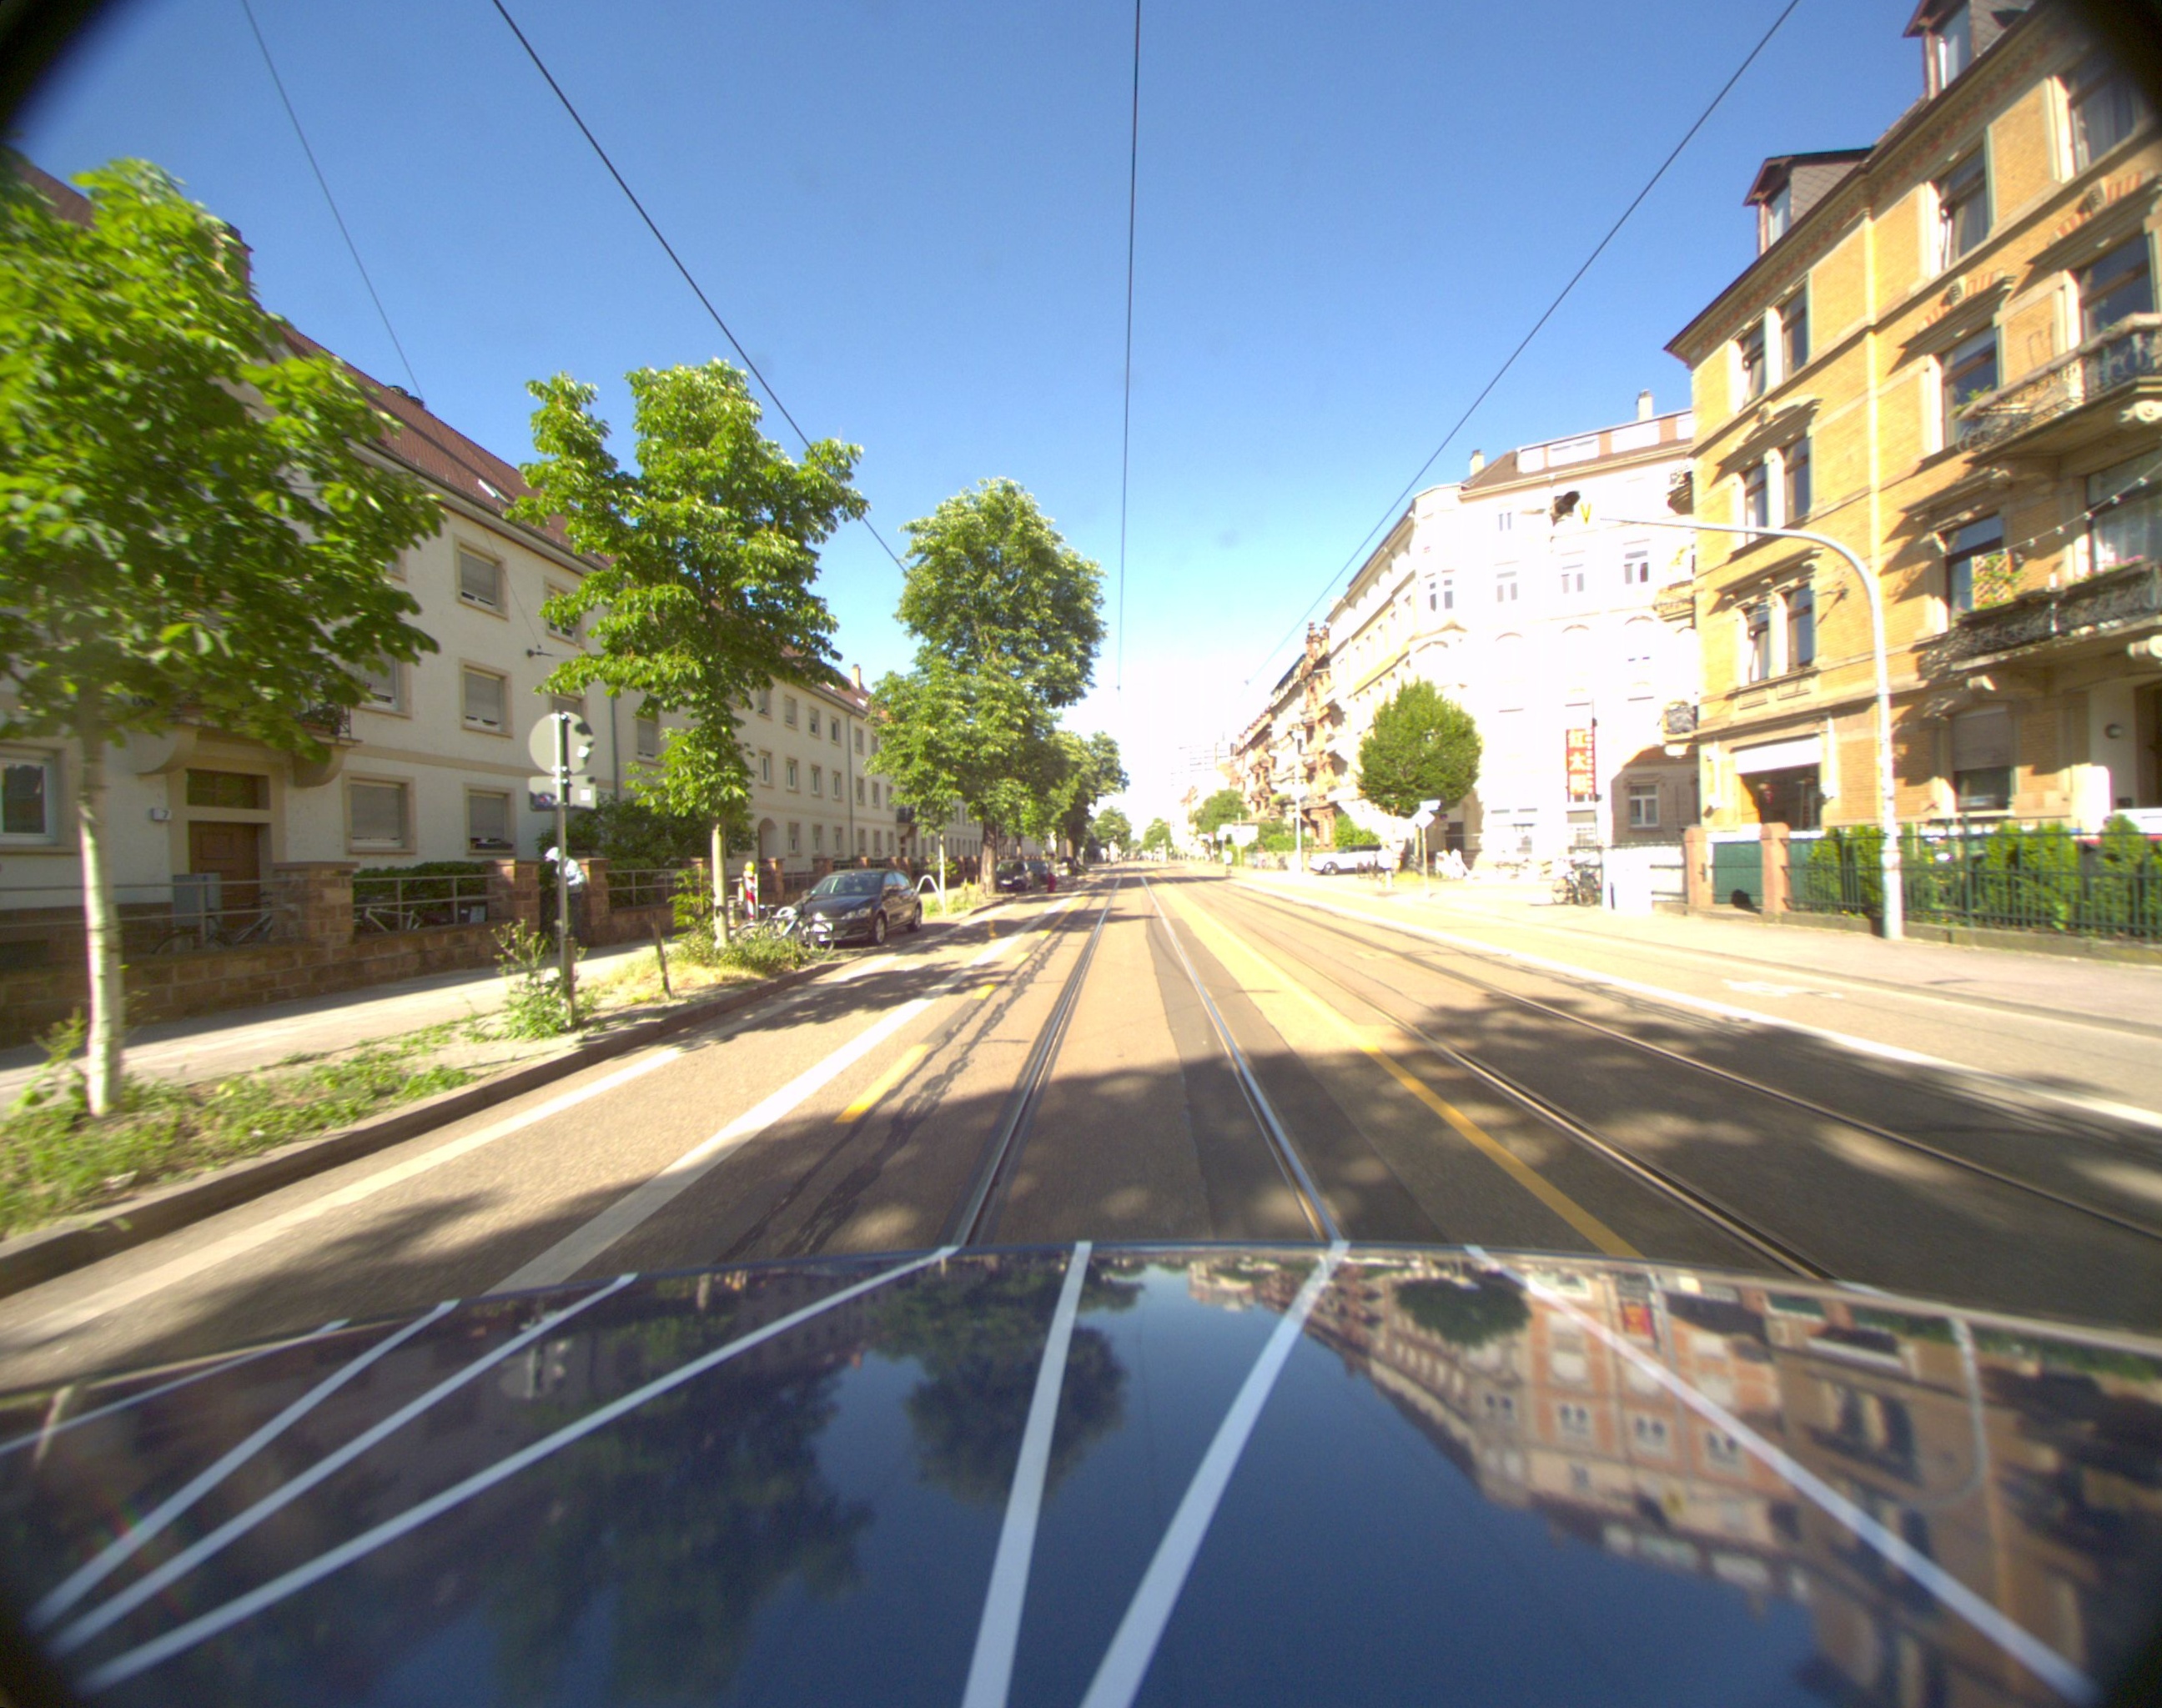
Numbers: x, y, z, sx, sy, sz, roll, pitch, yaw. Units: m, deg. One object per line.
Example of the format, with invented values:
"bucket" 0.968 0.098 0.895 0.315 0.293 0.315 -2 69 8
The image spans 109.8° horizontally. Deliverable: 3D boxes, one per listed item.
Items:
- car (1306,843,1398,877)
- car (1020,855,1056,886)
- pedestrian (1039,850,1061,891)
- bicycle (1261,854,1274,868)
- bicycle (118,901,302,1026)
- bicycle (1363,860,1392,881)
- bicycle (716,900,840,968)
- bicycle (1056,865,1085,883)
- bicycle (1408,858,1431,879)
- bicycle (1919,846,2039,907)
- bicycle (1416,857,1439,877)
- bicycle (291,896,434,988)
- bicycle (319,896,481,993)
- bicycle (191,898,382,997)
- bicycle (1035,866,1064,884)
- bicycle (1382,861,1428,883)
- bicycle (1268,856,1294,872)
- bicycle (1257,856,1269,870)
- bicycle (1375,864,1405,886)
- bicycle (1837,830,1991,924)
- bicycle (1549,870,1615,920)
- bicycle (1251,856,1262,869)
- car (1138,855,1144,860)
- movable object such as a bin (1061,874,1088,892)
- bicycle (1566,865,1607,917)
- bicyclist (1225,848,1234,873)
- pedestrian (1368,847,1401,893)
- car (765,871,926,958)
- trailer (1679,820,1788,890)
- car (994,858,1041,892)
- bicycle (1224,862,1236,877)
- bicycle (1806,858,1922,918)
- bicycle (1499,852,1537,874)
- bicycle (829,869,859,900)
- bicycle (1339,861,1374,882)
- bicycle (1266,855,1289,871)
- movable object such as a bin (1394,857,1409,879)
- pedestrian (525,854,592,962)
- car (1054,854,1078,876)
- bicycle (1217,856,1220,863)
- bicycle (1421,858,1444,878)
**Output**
"car" 15.170 0.339 42.717 4.455 1.634 1.967 -3 1 6
"car" -2.565 0.963 45.817 1.669 1.750 4.232 -2 0 3
"pedestrian" -1.350 0.731 33.261 0.602 1.760 0.911 1 0 -27
"bicycle" 14.041 0.546 57.278 0.564 1.027 1.768 -3 0 3
"bicycle" -10.223 1.239 8.990 0.349 1.254 1.426 -3 0 8
"bicycle" 14.483 0.798 37.099 1.296 0.909 0.619 -3 2 -32
"bicycle" -5.012 1.323 12.634 1.797 1.061 0.621 0 0 -1
"bicycle" -0.680 1.276 49.457 1.765 1.071 0.434 -3 0 5
"bicycle" 16.340 0.689 36.679 0.619 0.909 1.297 0 2 42
"bicycle" 15.656 0.390 13.267 1.539 0.969 0.389 -3 0 3
"bicycle" 17.414 0.659 38.195 1.545 0.909 0.246 -3 2 -32
"bicycle" -10.342 1.229 11.011 0.442 1.146 1.575 -3 0 4
"bicycle" -9.631 1.239 10.853 0.449 1.146 1.918 -2 0 4
"bicycle" -11.166 1.273 10.789 0.545 1.146 1.918 -3 0 4
"bicycle" -2.076 1.366 50.110 1.765 1.071 0.434 -3 0 5
"bicycle" 15.138 0.837 35.541 0.581 0.970 1.983 -3 1 -31
"bicycle" 13.533 0.686 51.466 0.566 1.027 1.764 -3 -1 -33
"bicycle" 14.171 0.678 59.121 0.564 1.027 1.768 -3 0 3
"bicycle" 14.052 0.954 34.547 1.296 0.909 0.619 -3 2 -32
"bicycle" 12.720 0.338 11.621 1.767 1.313 0.613 -3 0 -5
"bicycle" 11.195 0.886 17.037 0.336 0.995 1.870 -3 0 4
"bicycle" 14.582 0.714 63.005 0.564 1.027 1.768 -3 -1 4
"car" 20.549 1.142 258.806 1.901 1.608 4.265 0 0 2
"movable object such as a bin" -0.284 1.248 33.034 0.921 0.739 0.669 2 1 30
"bicycle" 11.371 0.812 17.108 0.371 1.119 0.809 -3 0 4
"bicyclist" 9.648 0.409 49.384 0.465 1.609 0.744 0 1 4
"pedestrian" 11.979 0.622 30.023 0.831 1.714 1.082 -3 1 2
"car" -4.630 1.132 15.624 1.791 1.455 4.045 -1 0 4
"trailer" 25.943 0.029 30.336 2.921 2.680 1.831 0 2 27
"car" -2.958 0.958 36.345 1.724 1.465 4.247 -1 0 2
"bicycle" 9.635 0.981 49.258 0.461 0.920 2.203 0 0 4
"bicycle" 13.754 0.595 13.363 1.539 0.969 0.389 -3 0 3
"bicycle" 21.927 0.478 38.146 1.600 1.031 0.407 -3 -2 29
"bicycle" -9.630 1.228 30.933 0.544 1.213 1.742 -1 0 4
"bicycle" 13.784 0.859 37.993 1.791 0.909 0.619 -3 2 -32
"bicycle" 13.769 0.632 53.365 0.565 1.027 1.765 -6 0 -21
"movable object such as a bin" 16.214 0.689 38.473 0.577 1.064 0.717 -3 0 17
"pedestrian" -8.698 0.889 12.652 0.763 1.714 0.581 -3 0 33
"car" -1.278 0.911 66.365 1.748 1.755 4.479 -3 0 3
"bicycle" 18.636 0.780 103.042 0.342 0.920 1.944 -3 0 8
"bicycle" 17.566 0.672 37.961 1.545 0.909 0.246 -3 2 -32
